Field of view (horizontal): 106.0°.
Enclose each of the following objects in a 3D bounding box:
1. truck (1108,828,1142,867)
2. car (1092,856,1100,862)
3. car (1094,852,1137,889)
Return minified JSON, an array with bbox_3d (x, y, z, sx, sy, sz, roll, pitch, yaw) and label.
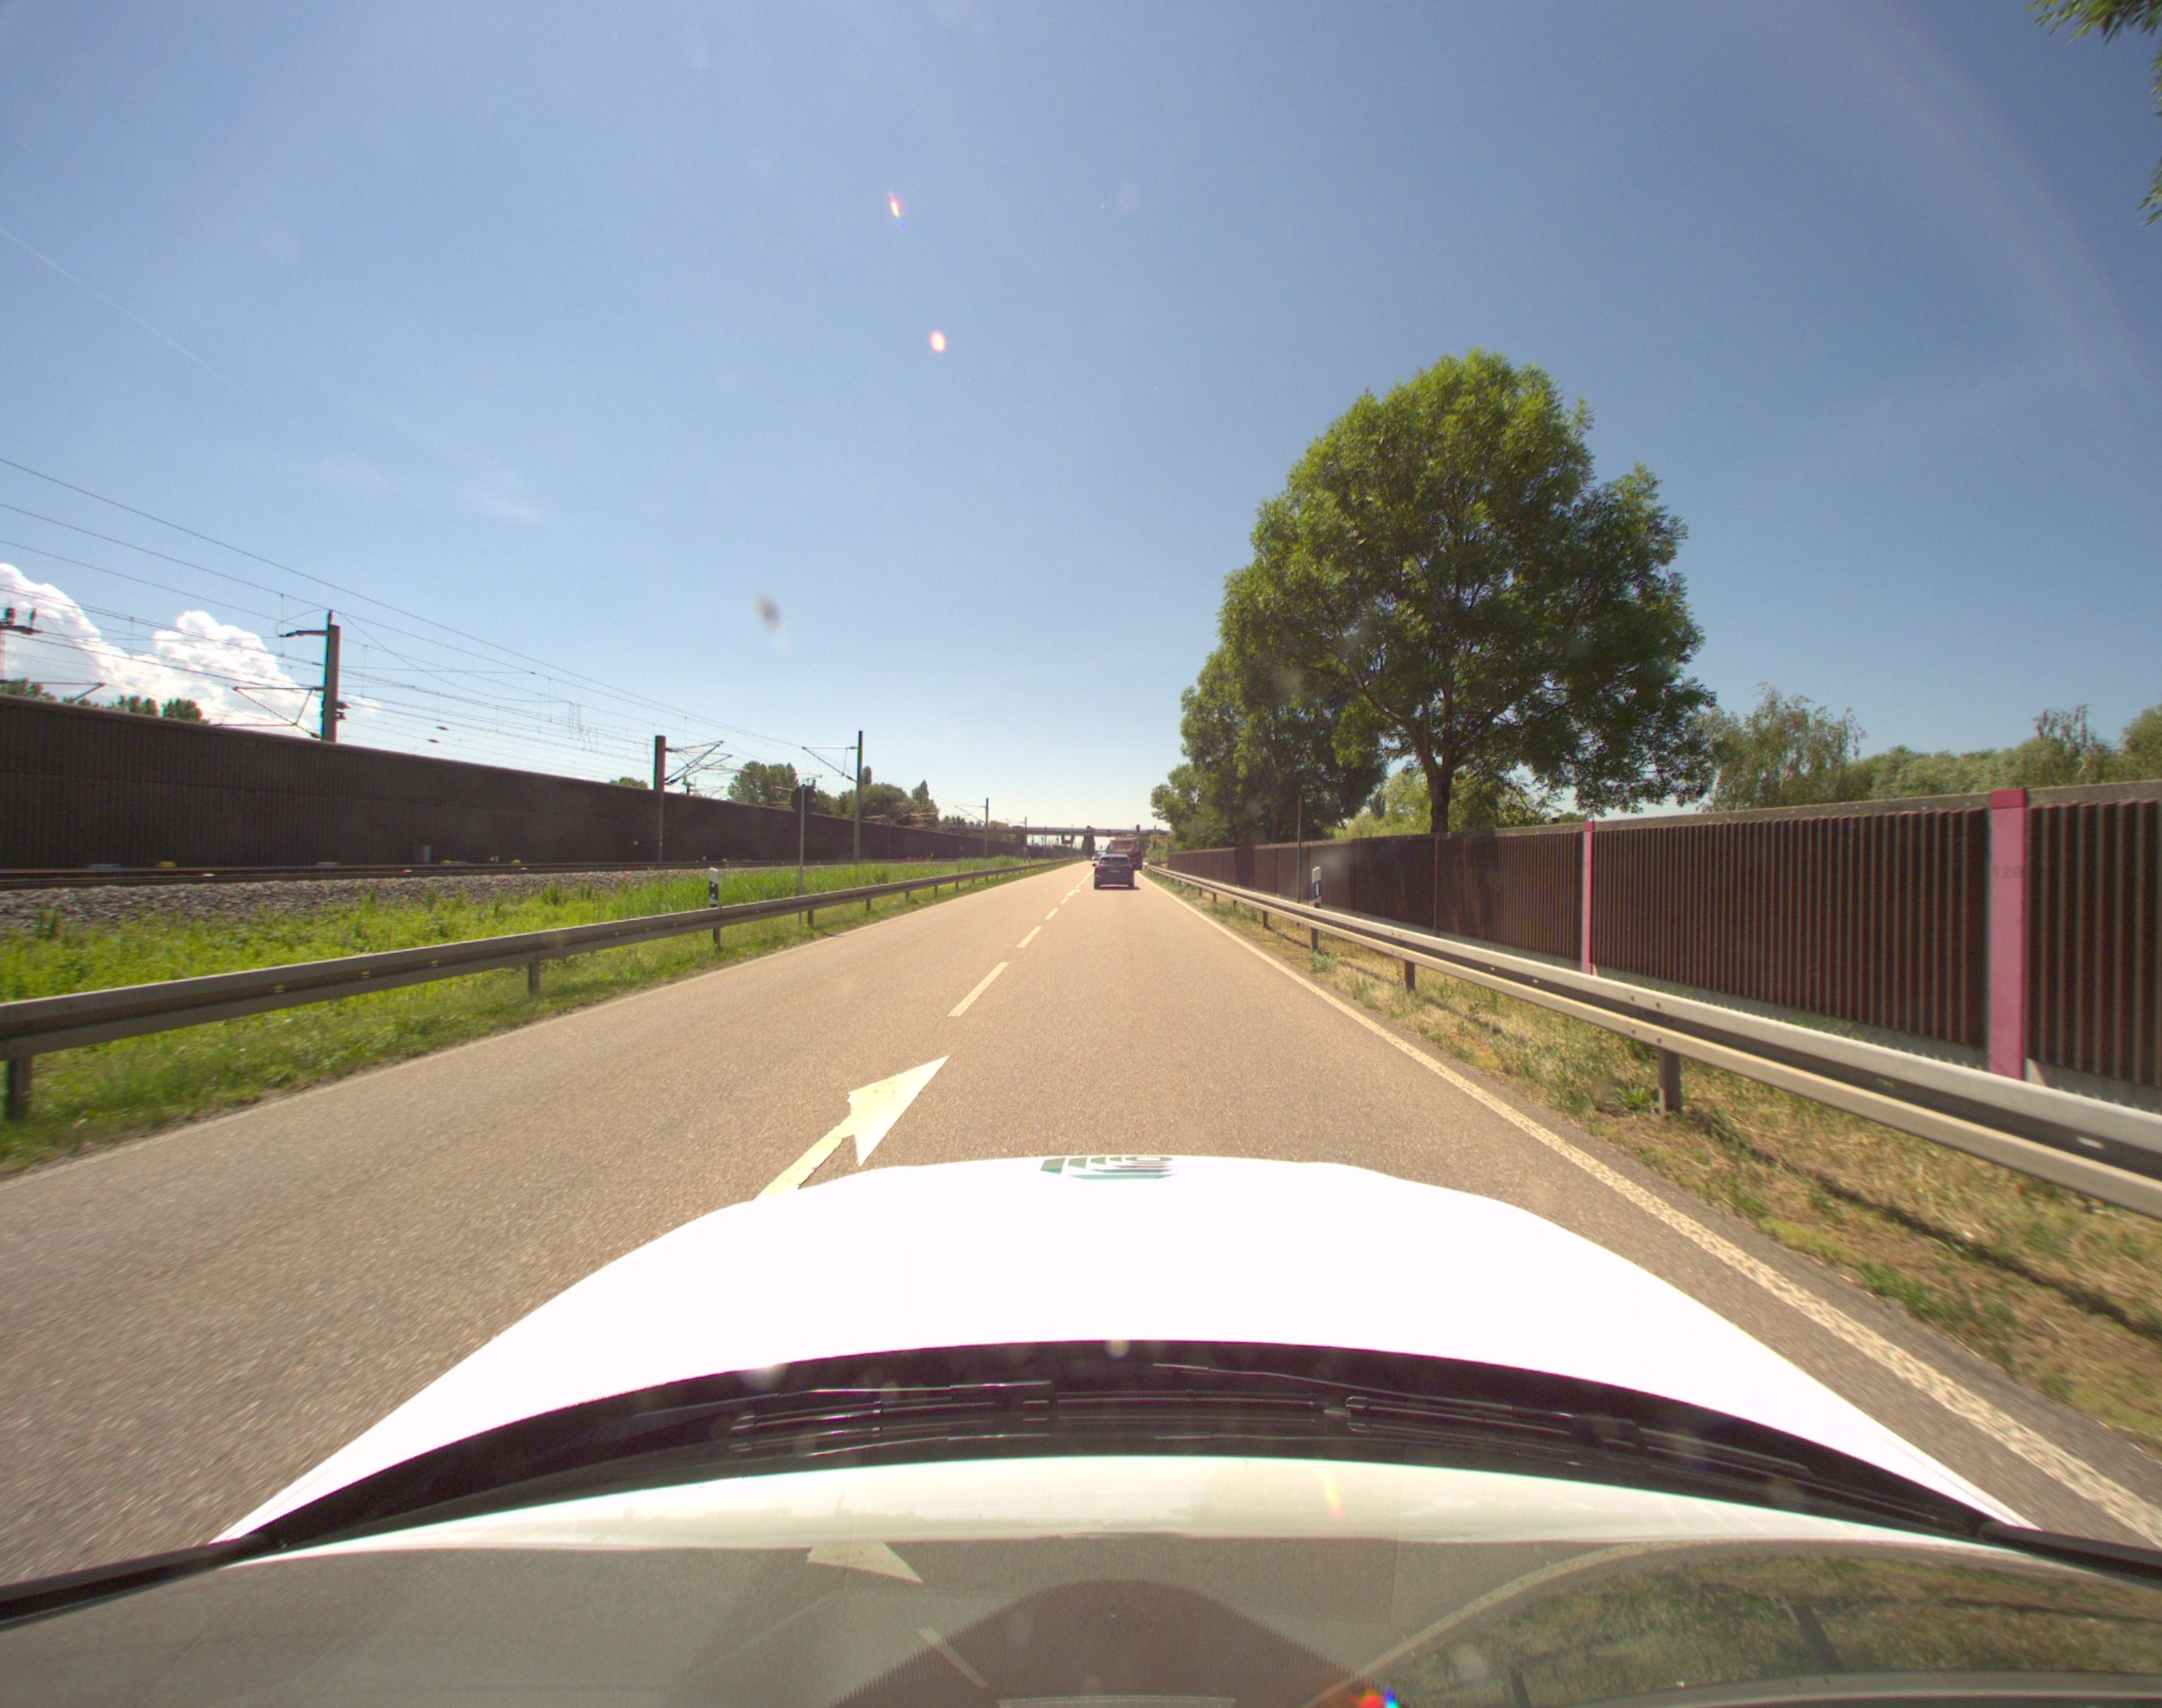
[{"bbox_3d":[4.725,-0.611,84.909,2.818,3.821,11.907,0,0,7],"label":"truck"},{"bbox_3d":[3.722,1.311,199.239,1.859,1.485,4.885,0,0,-1],"label":"car"},{"bbox_3d":[1.523,0.734,37.499,1.839,1.623,4.225,0,0,0],"label":"car"}]
